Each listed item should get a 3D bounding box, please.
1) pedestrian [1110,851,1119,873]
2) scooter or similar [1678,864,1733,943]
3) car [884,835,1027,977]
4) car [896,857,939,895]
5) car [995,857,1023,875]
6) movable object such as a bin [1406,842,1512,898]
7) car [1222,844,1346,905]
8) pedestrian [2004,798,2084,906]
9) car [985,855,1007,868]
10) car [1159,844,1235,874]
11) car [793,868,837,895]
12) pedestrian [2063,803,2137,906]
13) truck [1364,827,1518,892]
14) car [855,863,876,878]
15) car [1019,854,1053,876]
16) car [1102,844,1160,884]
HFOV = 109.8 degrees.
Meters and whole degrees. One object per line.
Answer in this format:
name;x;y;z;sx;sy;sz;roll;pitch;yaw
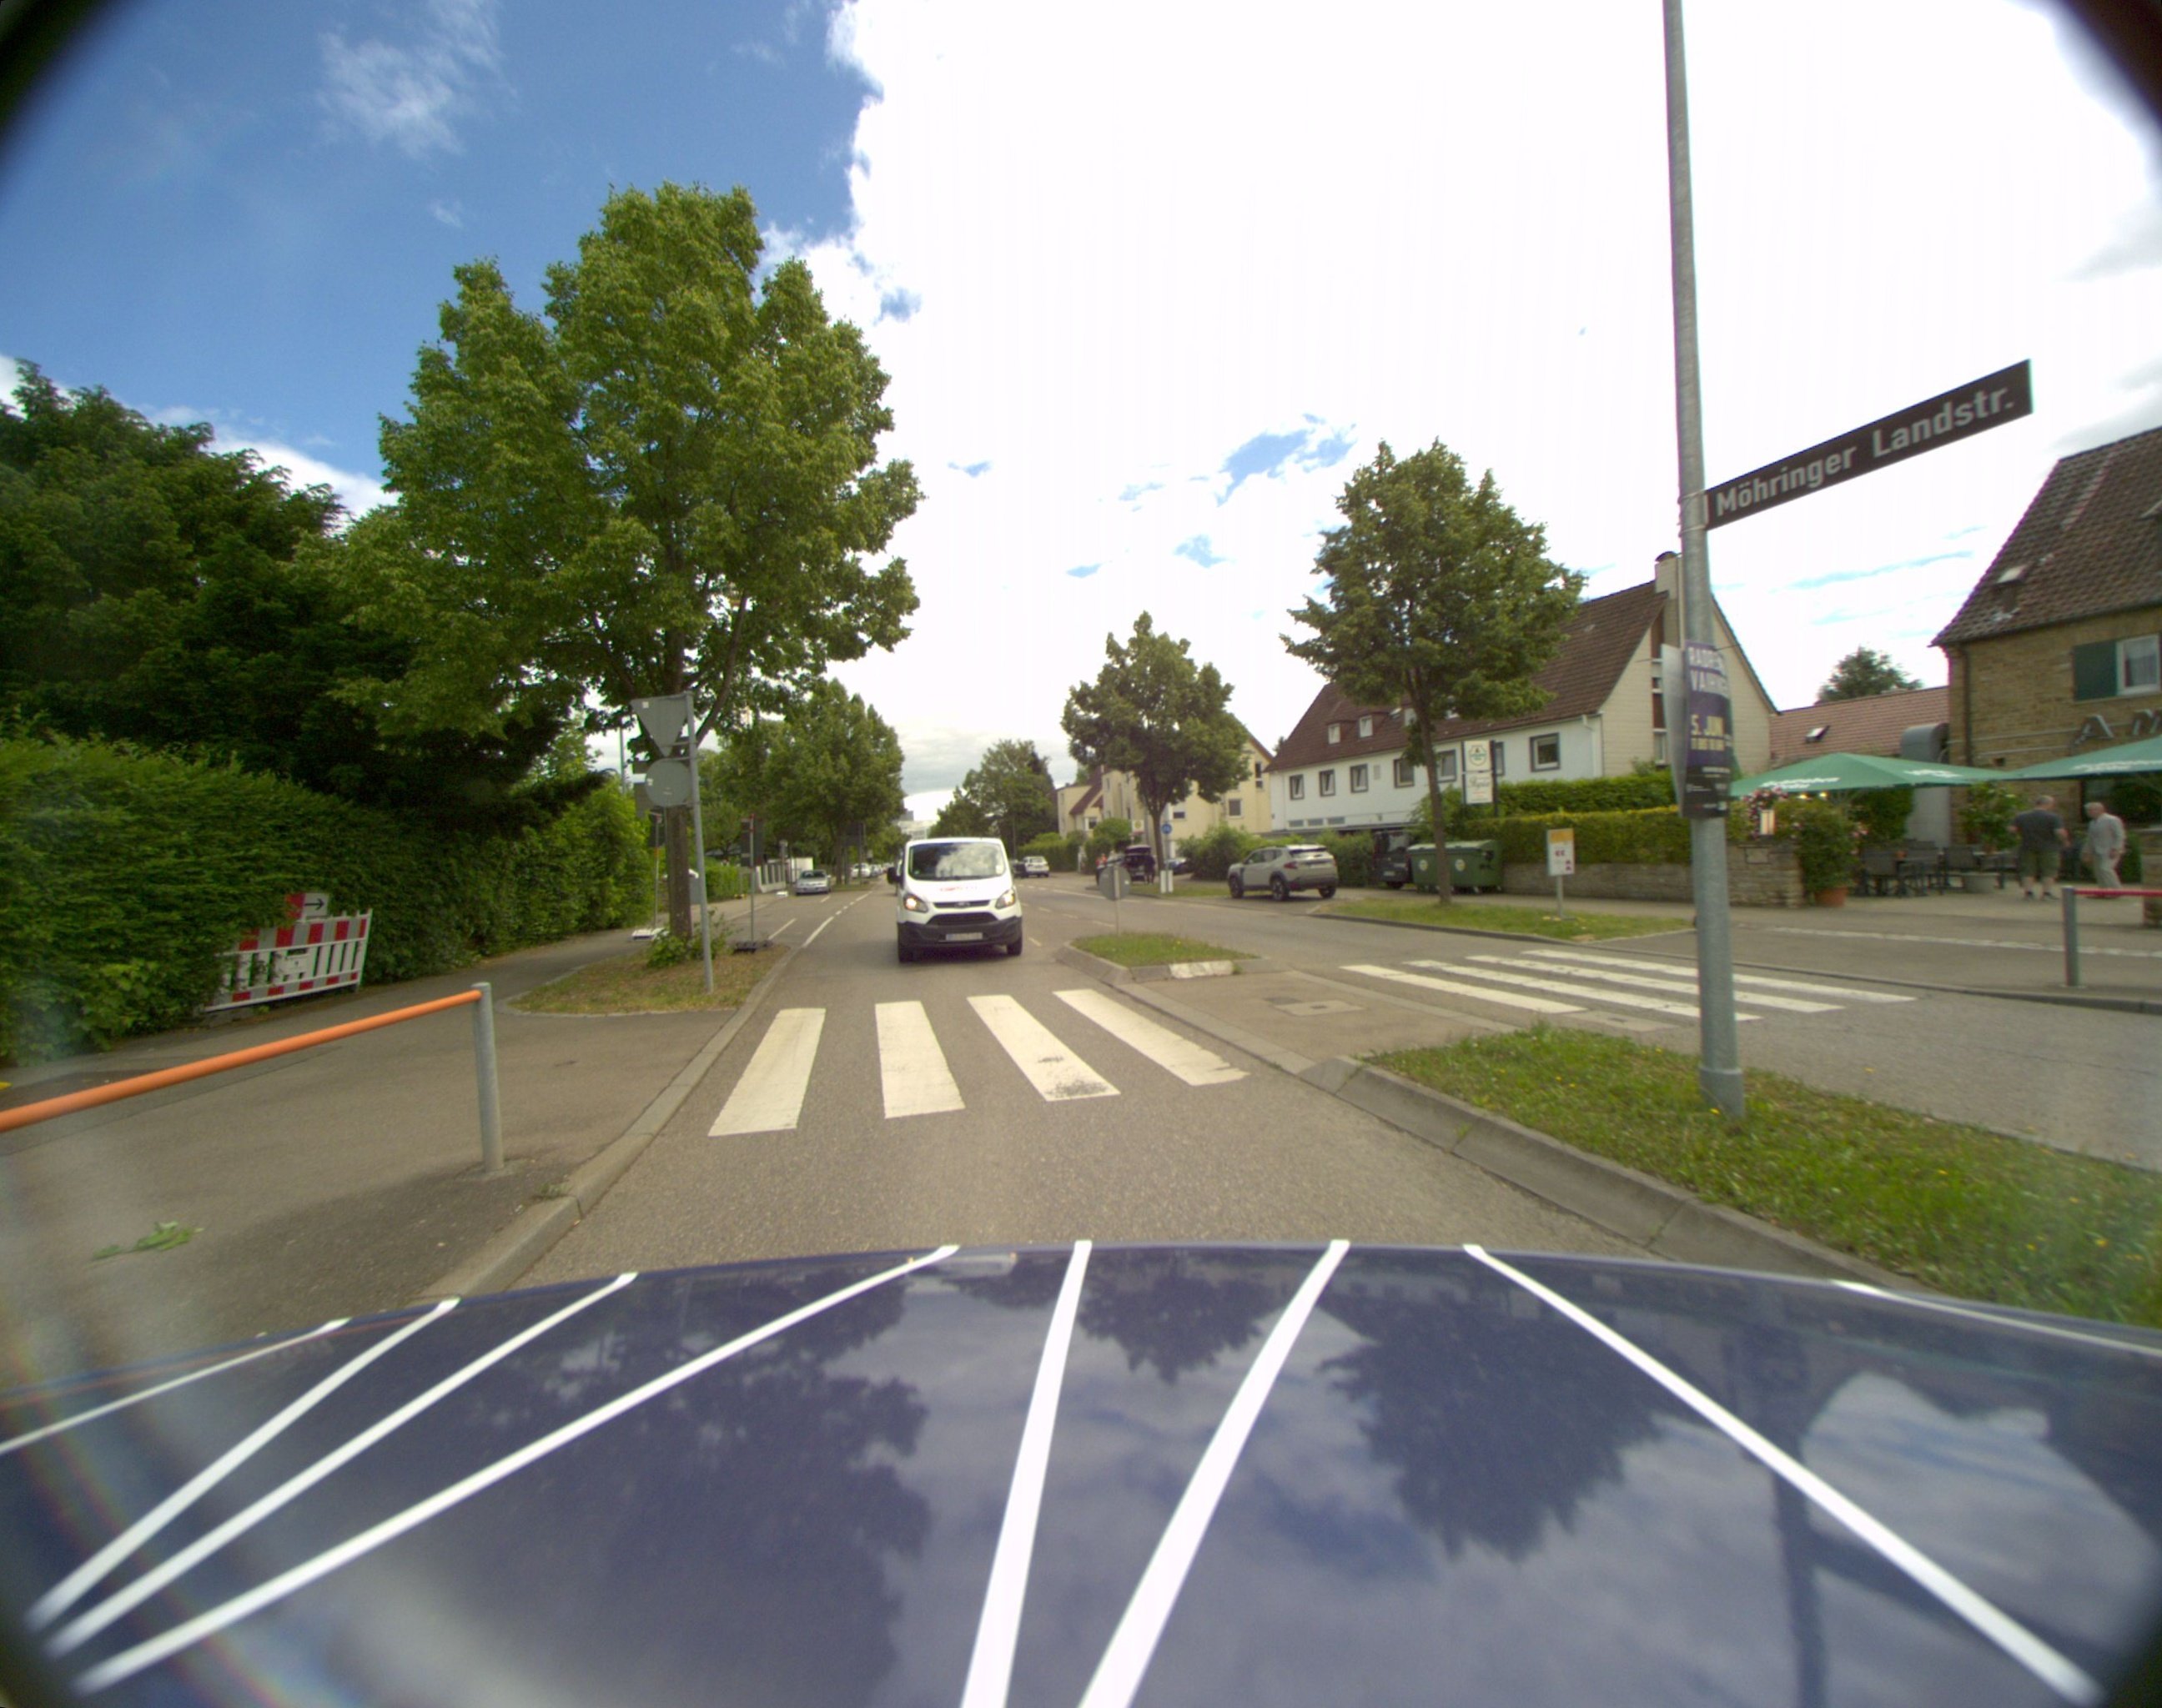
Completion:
pedestrian;2.105;0.530;47.797;0.387;1.357;0.412;-3;1;-13
scooter or similar;9.648;0.741;11.739;1.050;1.125;0.380;-3;1;-36
car;-2.223;0.766;13.782;2.000;2.002;5.046;-3;0;-9
car;-8.334;1.062;38.837;1.928;1.744;3.996;-3;1;-12
car;-6.318;1.026;66.422;1.667;1.466;3.741;-3;0;-17
movable object such as a bin;10.430;0.429;21.131;0.985;1.408;2.719;-3;0;-17
car;6.123;0.596;23.395;1.753;1.626;4.042;-3;0;-17
pedestrian;16.848;-0.033;13.299;0.637;1.816;0.567;-3;1;2
car;-8.777;0.810;78.382;1.606;1.220;3.190;-3;0;-17
car;6.846;0.307;44.803;4.051;1.530;1.749;-3;0;-20
car;-14.993;1.510;43.048;1.812;1.334;3.996;-3;0;-12
pedestrian;17.565;0.006;13.105;0.489;1.717;0.567;-3;1;2
truck;11.840;0.153;25.004;4.504;1.839;1.862;-3;0;-20
car;-22.543;1.712;79.494;1.812;1.334;3.996;-3;0;-12
car;-3.572;0.863;59.763;1.763;1.552;3.741;-3;0;-17
car;2.433;0.503;38.200;1.753;1.819;4.043;-3;0;-13
